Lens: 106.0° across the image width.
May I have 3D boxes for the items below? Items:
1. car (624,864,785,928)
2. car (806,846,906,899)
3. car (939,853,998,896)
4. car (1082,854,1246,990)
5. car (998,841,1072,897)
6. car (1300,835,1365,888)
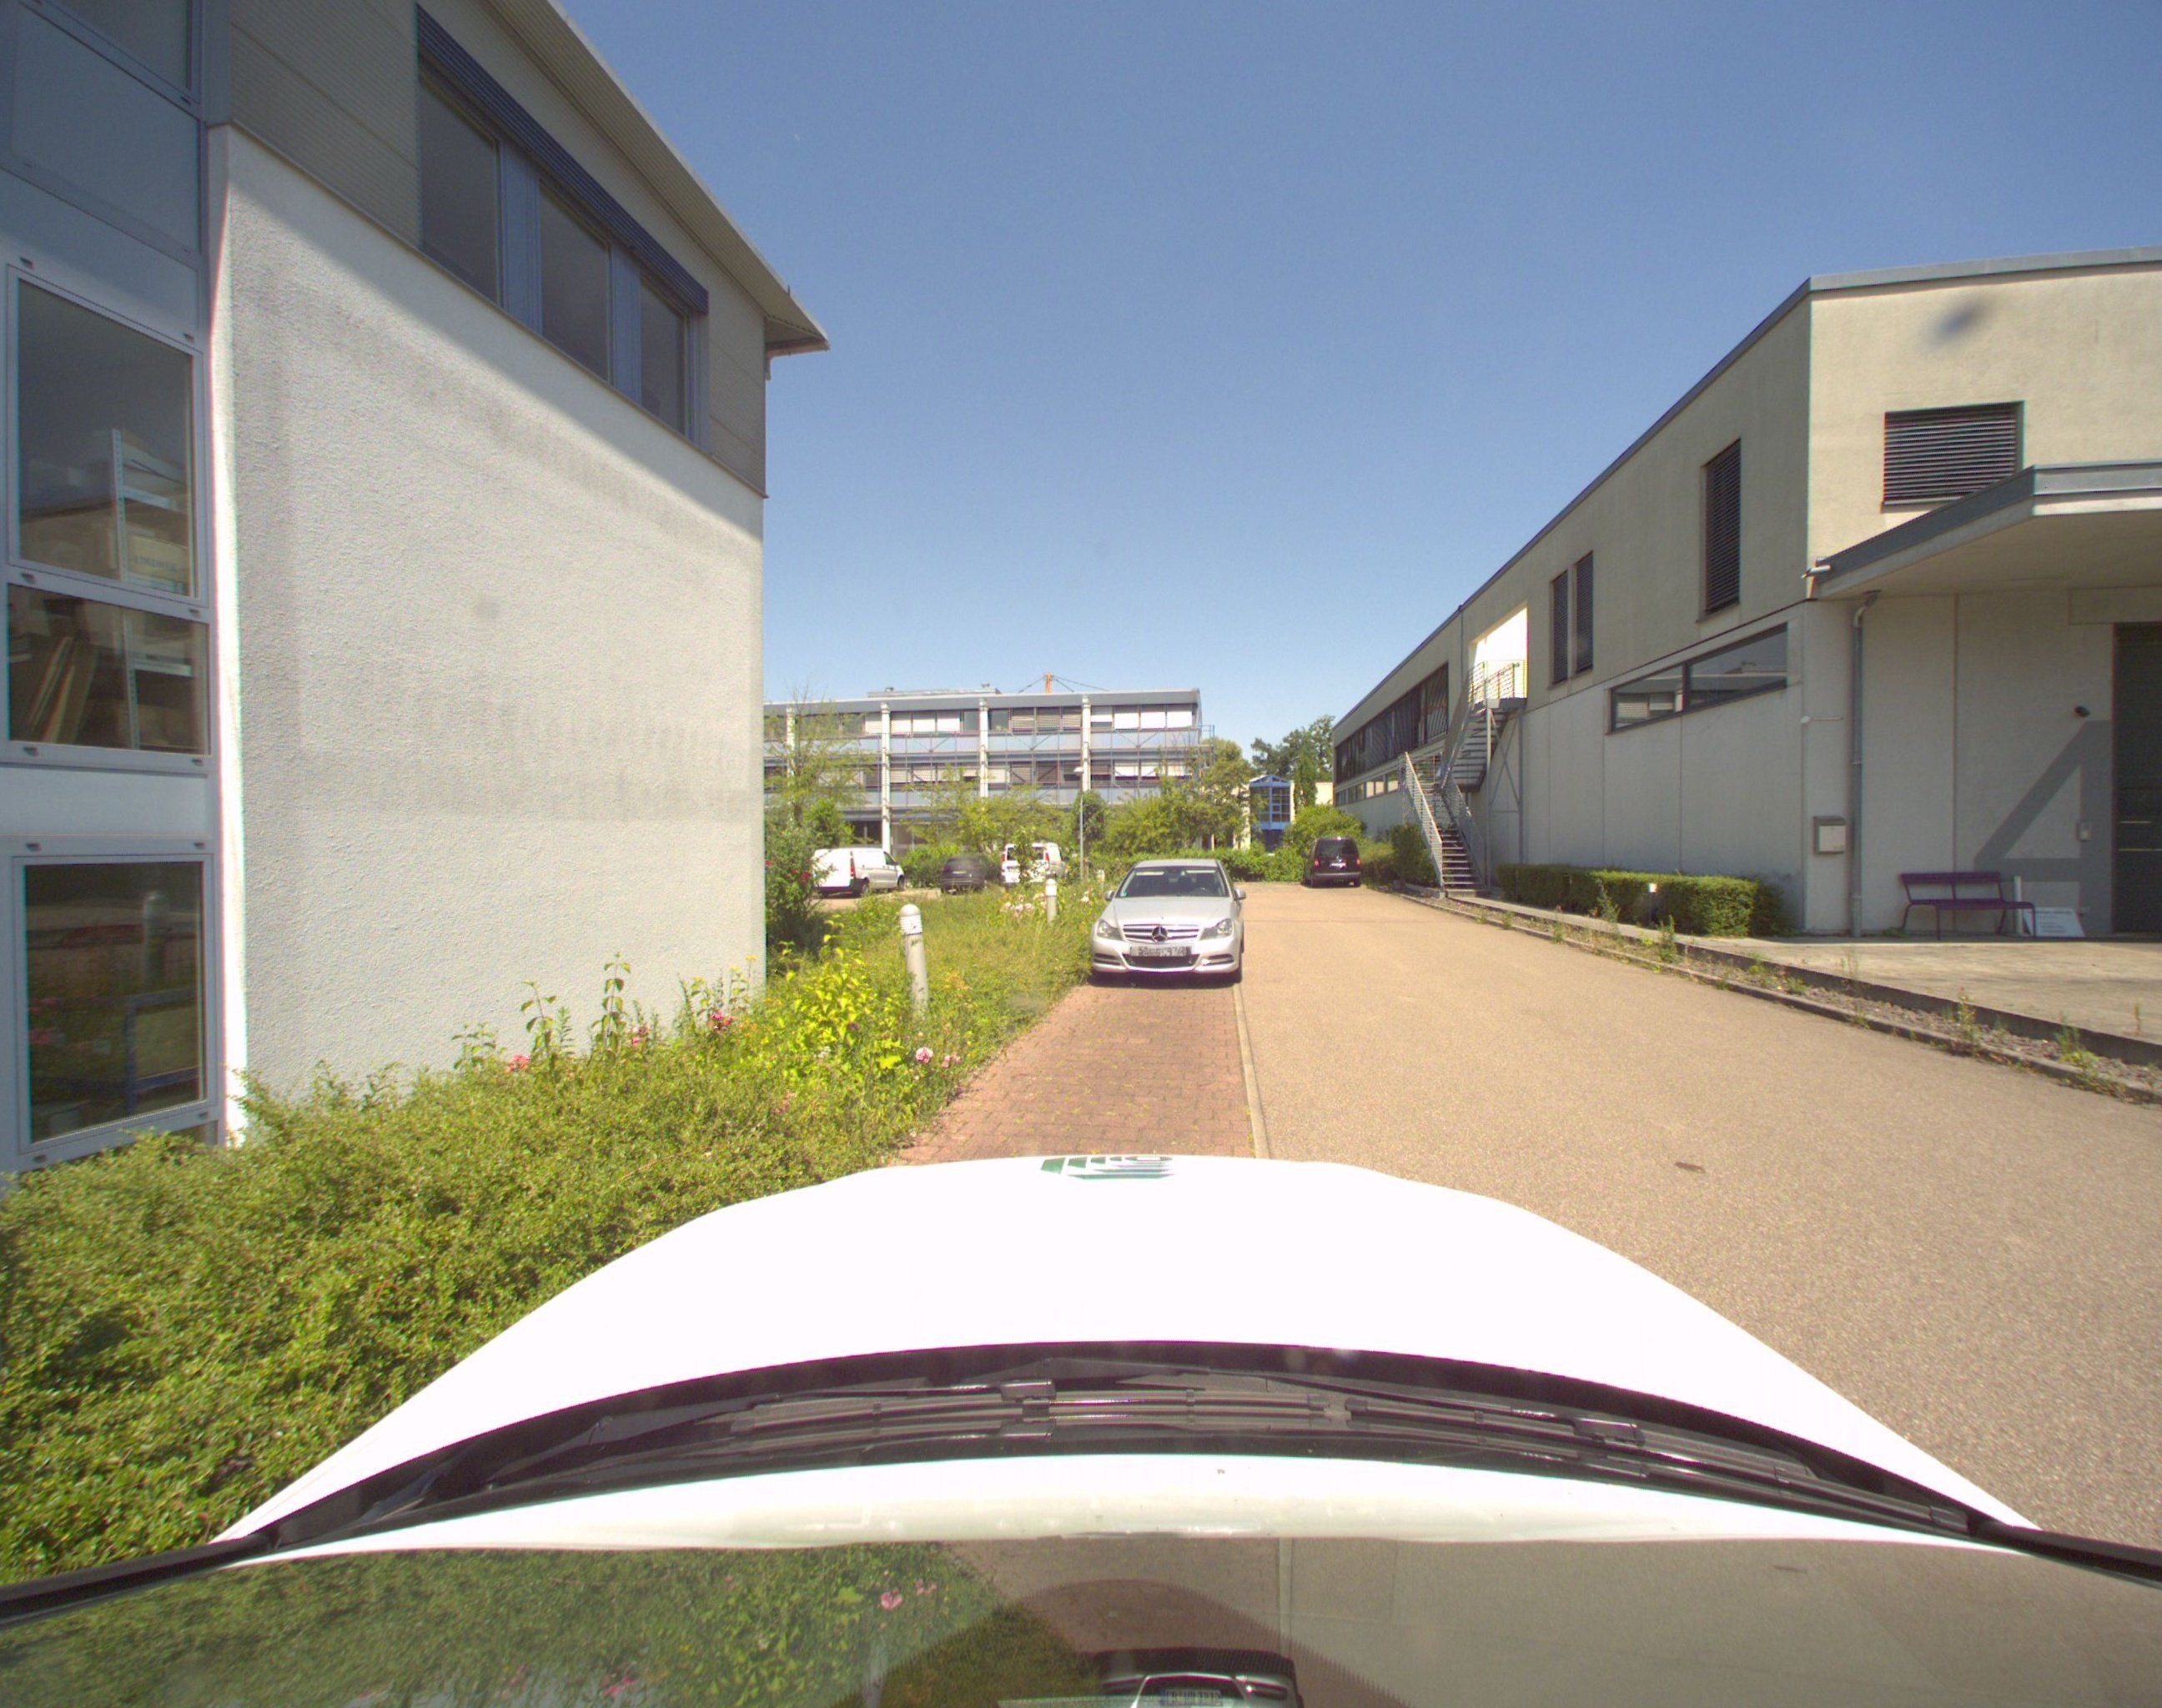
[{"bbox_3d":[-10.267,1.093,22.674,1.846,1.472,4.495,-1,1,8],"label":"car"},{"bbox_3d":[-8.872,0.673,32.571,1.870,1.891,4.818,-1,1,10],"label":"car"},{"bbox_3d":[-4.402,0.755,32.447,1.749,1.476,3.999,-2,1,0],"label":"car"},{"bbox_3d":[1.305,0.749,10.923,1.717,1.457,4.161,-2,0,12],"label":"car"},{"bbox_3d":[-1.675,0.503,31.423,1.902,1.905,4.819,-2,1,8],"label":"car"},{"bbox_3d":[9.413,0.241,30.751,1.733,1.837,4.010,-2,0,9],"label":"car"}]
